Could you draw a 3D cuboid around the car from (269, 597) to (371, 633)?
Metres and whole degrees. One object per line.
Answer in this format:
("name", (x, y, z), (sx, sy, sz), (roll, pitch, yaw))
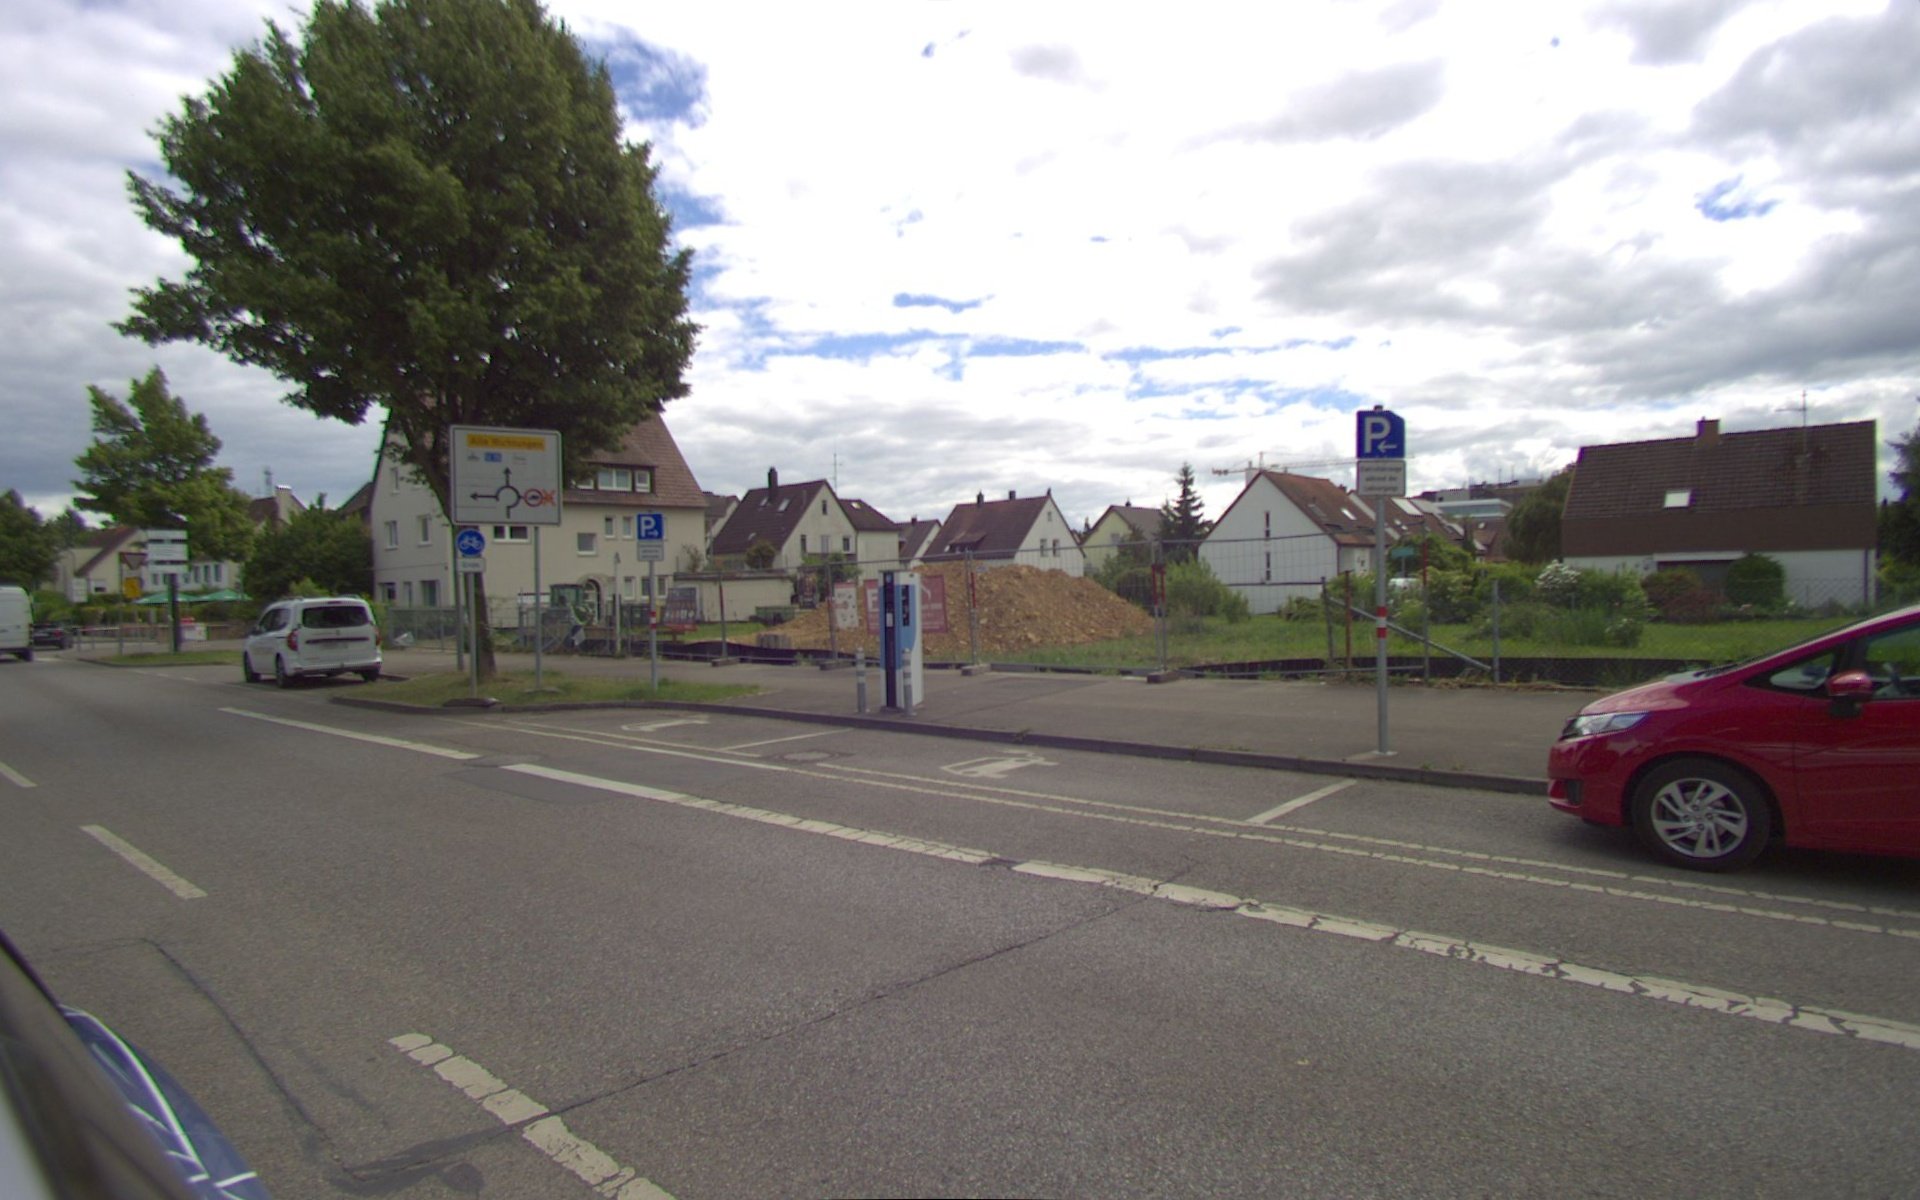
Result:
("car", (-31.610, 0.722, 50.090), (1.818, 1.547, 3.878), (0, 2, 40))

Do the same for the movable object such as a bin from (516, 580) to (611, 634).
("movable object such as a bin", (-17.180, 0.298, 43.742), (4.357, 2.204, 1.878), (-1, 0, 39))

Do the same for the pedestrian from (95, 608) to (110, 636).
("pedestrian", (-56.002, 1.432, 66.092), (0.628, 1.840, 0.567), (-3, 1, -41))

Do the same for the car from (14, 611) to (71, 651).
("car", (-43.780, 1.435, 48.278), (1.899, 1.767, 4.003), (-2, 1, -44))

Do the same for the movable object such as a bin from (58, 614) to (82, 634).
("movable object such as a bin", (-66.477, 1.829, 75.548), (2.721, 1.427, 0.971), (-2, 0, 41))

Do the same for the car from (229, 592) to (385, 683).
("car", (-14.414, 0.771, 22.224), (4.550, 1.784, 1.751), (-1, 0, 42))

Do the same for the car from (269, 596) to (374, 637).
("car", (-30.343, 0.744, 48.167), (1.856, 1.674, 3.874), (1, 3, 45))

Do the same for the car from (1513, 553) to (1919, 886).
("car", (5.296, 0.543, 5.086), (4.131, 1.552, 1.667), (-1, 0, 42))

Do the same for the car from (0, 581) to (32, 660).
("car", (-35.080, 0.749, 36.368), (5.804, 2.694, 1.997), (-1, 0, 42))
